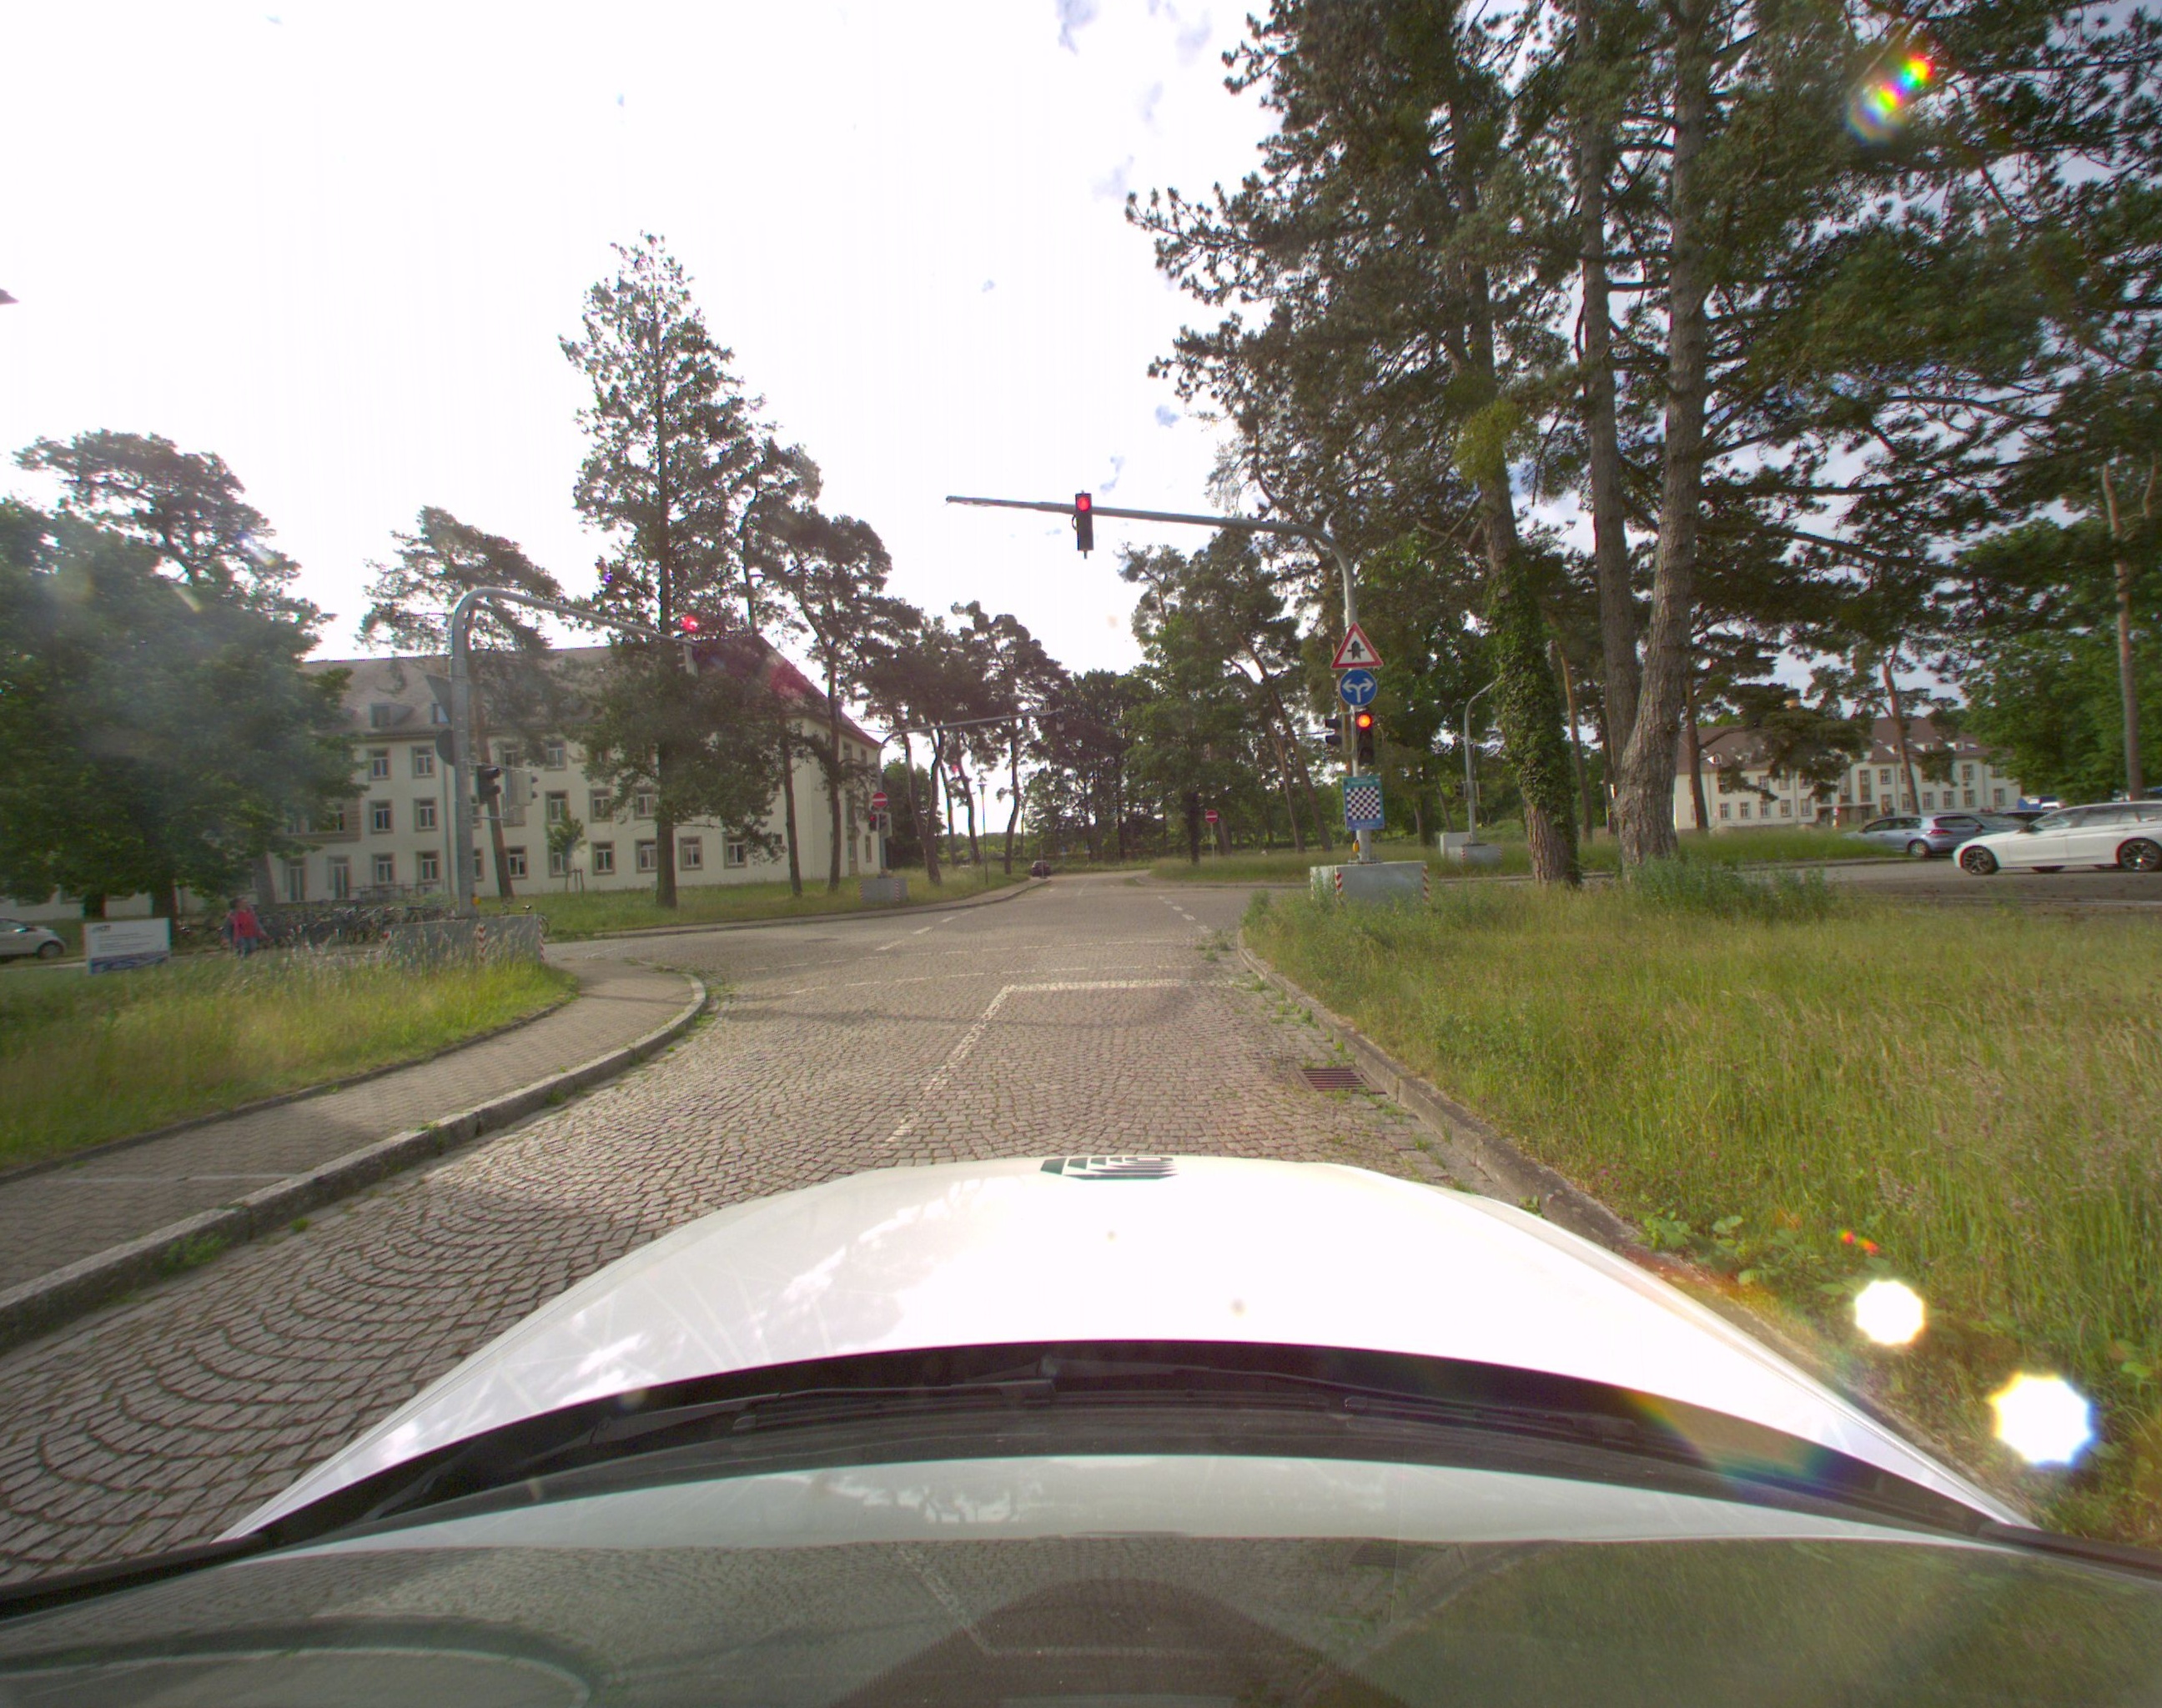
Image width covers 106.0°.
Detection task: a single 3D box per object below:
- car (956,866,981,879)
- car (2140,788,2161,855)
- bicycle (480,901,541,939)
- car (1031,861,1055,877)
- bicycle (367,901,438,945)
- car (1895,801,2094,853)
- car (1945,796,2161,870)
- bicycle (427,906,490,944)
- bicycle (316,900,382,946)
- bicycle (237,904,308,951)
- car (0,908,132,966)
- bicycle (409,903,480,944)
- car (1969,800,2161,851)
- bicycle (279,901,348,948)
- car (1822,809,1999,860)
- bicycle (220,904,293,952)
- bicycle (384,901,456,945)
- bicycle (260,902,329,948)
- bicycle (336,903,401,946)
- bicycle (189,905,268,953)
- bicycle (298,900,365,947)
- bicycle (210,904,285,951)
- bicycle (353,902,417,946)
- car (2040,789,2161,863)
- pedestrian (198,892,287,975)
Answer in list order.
[{"bbox_3d":[-11.308,1.883,82.014,1.682,1.156,4.003,-3,0,2],"label":"car"},{"bbox_3d":[26.609,-0.827,17.490,1.861,1.577,4.444,-3,0,-2],"label":"car"},{"bbox_3d":[-16.665,1.938,23.802,1.453,0.996,0.452,-3,-1,2],"label":"bicycle"},{"bbox_3d":[-3.721,1.441,80.945,1.985,1.508,4.003,-1,0,2],"label":"car"},{"bbox_3d":[-20.971,2.117,25.222,0.526,1.178,1.930,-3,0,0],"label":"bicycle"},{"bbox_3d":[31.337,-0.854,28.160,1.748,1.524,4.443,-3,0,-2],"label":"car"},{"bbox_3d":[21.415,-0.424,17.066,1.748,1.415,4.444,-3,-1,-2],"label":"car"},{"bbox_3d":[-18.186,2.078,23.789,1.453,0.996,0.452,-3,-1,2],"label":"bicycle"},{"bbox_3d":[-22.682,2.120,25.263,0.447,1.283,1.695,-3,0,0],"label":"bicycle"},{"bbox_3d":[-24.928,2.243,25.142,0.447,1.283,1.695,-3,0,0],"label":"bicycle"},{"bbox_3d":[-34.292,2.734,26.613,1.832,1.556,3.899,-3,0,2],"label":"car"},{"bbox_3d":[-19.690,2.143,25.262,0.573,1.078,1.996,-3,0,0],"label":"bicycle"},{"bbox_3d":[33.988,-0.936,28.088,1.748,1.524,4.444,-3,0,-2],"label":"car"},{"bbox_3d":[-23.703,2.151,25.185,0.447,1.283,1.695,-3,0,0],"label":"bicycle"},{"bbox_3d":[28.922,-0.629,28.624,1.745,1.524,4.451,-3,0,3],"label":"car"},{"bbox_3d":[-25.415,2.258,25.133,0.447,1.283,1.695,-3,0,0],"label":"bicycle"},{"bbox_3d":[-20.388,2.098,25.187,0.573,1.178,1.954,-3,0,0],"label":"bicycle"},{"bbox_3d":[-24.265,2.169,25.165,0.447,1.283,1.695,-3,0,0],"label":"bicycle"},{"bbox_3d":[-21.970,2.148,25.152,0.447,1.178,1.695,-3,0,0],"label":"bicycle"},{"bbox_3d":[-26.346,2.290,25.205,0.447,1.283,1.827,-3,0,0],"label":"bicycle"},{"bbox_3d":[-23.187,2.135,25.225,0.447,1.283,1.695,-3,0,0],"label":"bicycle"},{"bbox_3d":[-25.881,2.275,25.334,0.441,1.283,1.785,-3,0,0],"label":"bicycle"},{"bbox_3d":[-21.484,2.145,25.169,0.447,1.178,1.695,-3,0,0],"label":"bicycle"},{"bbox_3d":[23.990,-0.657,17.309,1.861,1.577,4.444,-3,0,-2],"label":"car"},{"bbox_3d":[-18.097,1.697,17.595,0.855,1.668,0.941,-3,0,5],"label":"pedestrian"}]
